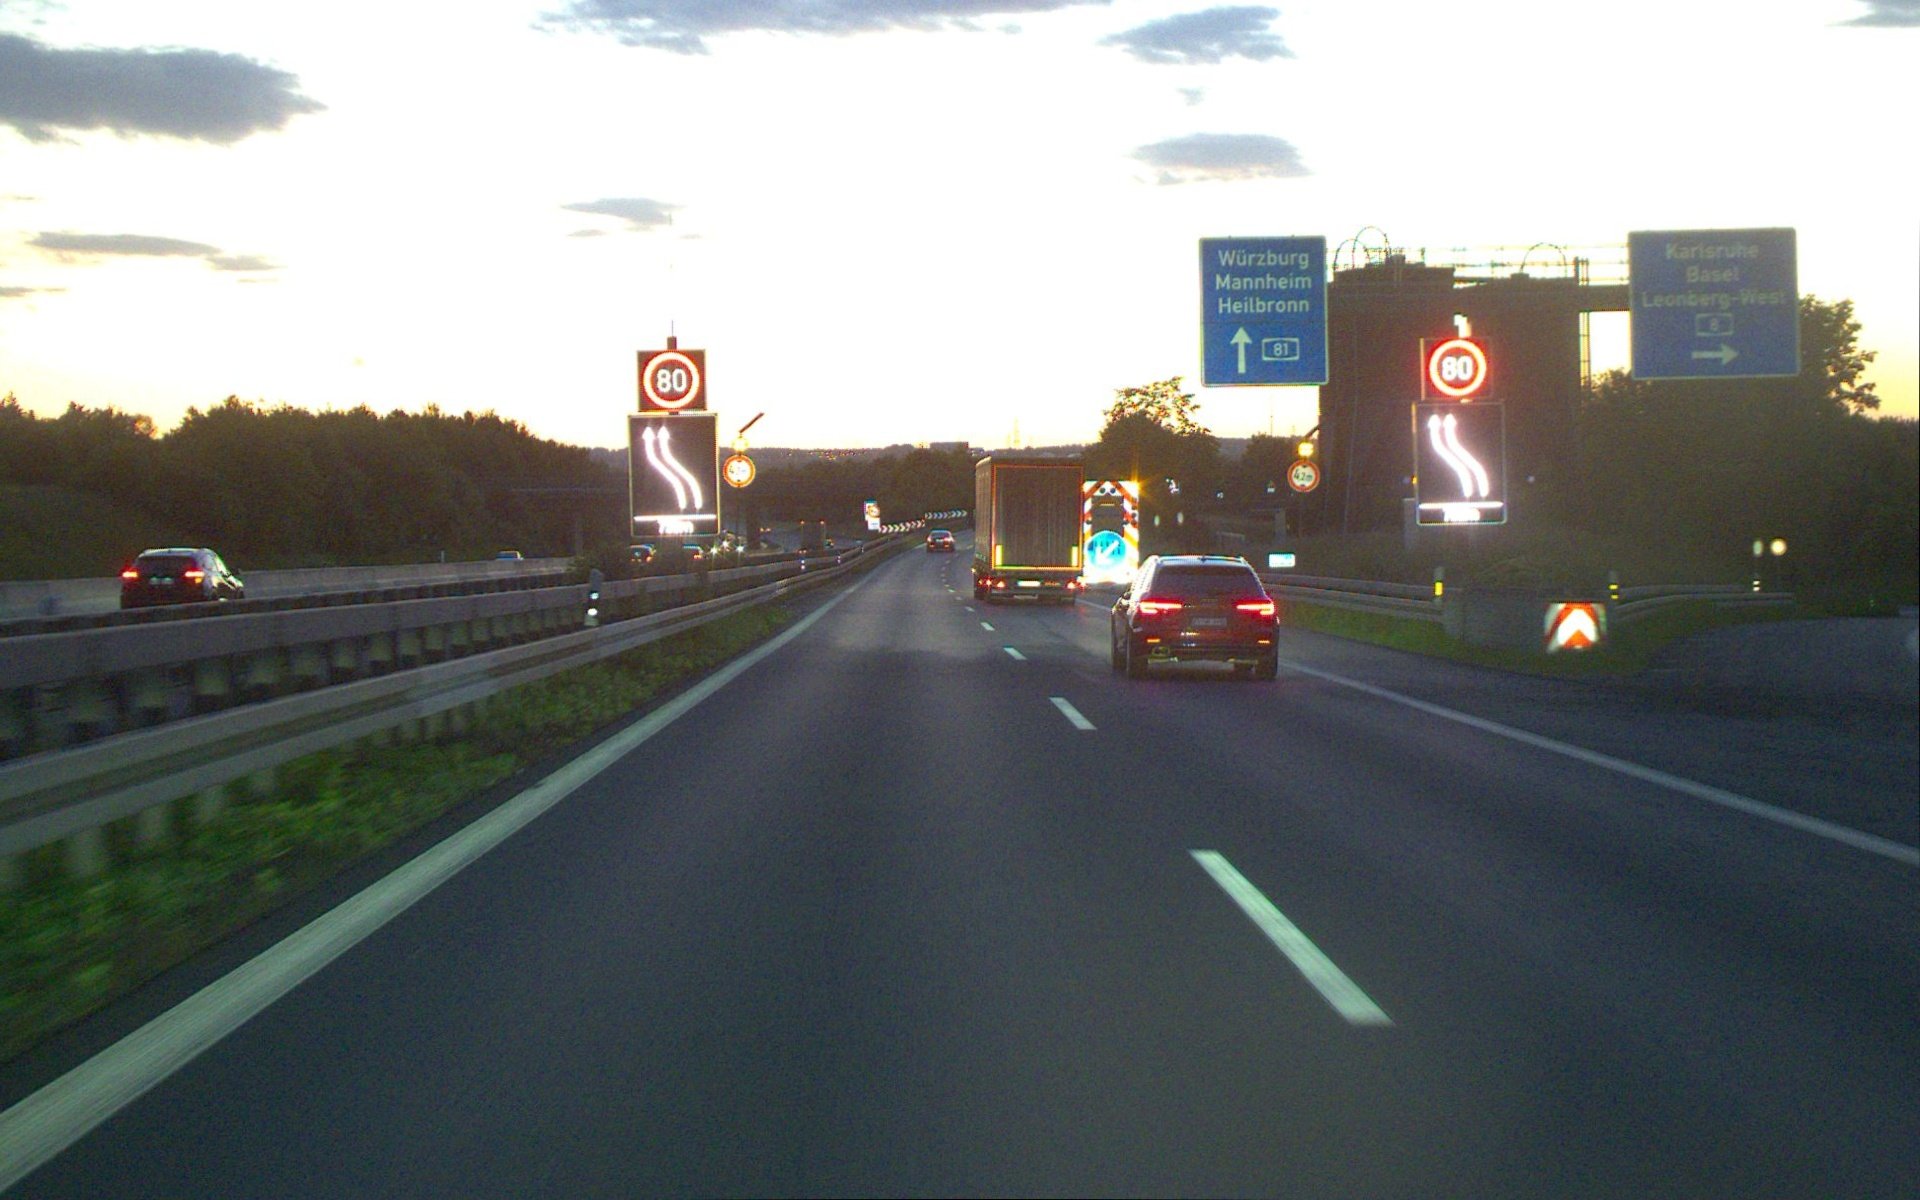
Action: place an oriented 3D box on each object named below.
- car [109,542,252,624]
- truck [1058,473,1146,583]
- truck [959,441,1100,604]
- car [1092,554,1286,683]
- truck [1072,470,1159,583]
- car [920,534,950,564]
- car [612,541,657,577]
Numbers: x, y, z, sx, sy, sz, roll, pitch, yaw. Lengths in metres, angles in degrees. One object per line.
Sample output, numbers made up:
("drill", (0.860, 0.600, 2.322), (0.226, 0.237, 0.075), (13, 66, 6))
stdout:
("car", (-15.552, -0.358, 68.804), (1.872, 1.556, 4.520), (-1, 1, -1))
("truck", (5.487, -2.790, 134.131), (2.913, 4.097, 9.150), (0, 1, -1))
("truck", (1.851, -2.135, 97.085), (3.509, 4.286, 9.892), (-1, 1, -1))
("car", (2.724, 0.189, 41.715), (1.915, 1.437, 4.000), (-1, 1, -2))
("truck", (5.659, -2.697, 126.358), (2.787, 4.045, 6.412), (0, 1, -1))
("car", (-1.766, -3.547, 239.910), (1.993, 2.007, 4.000), (-1, 1, -1))
("car", (-14.977, -1.901, 158.198), (1.713, 1.600, 3.722), (-1, 1, -1))
